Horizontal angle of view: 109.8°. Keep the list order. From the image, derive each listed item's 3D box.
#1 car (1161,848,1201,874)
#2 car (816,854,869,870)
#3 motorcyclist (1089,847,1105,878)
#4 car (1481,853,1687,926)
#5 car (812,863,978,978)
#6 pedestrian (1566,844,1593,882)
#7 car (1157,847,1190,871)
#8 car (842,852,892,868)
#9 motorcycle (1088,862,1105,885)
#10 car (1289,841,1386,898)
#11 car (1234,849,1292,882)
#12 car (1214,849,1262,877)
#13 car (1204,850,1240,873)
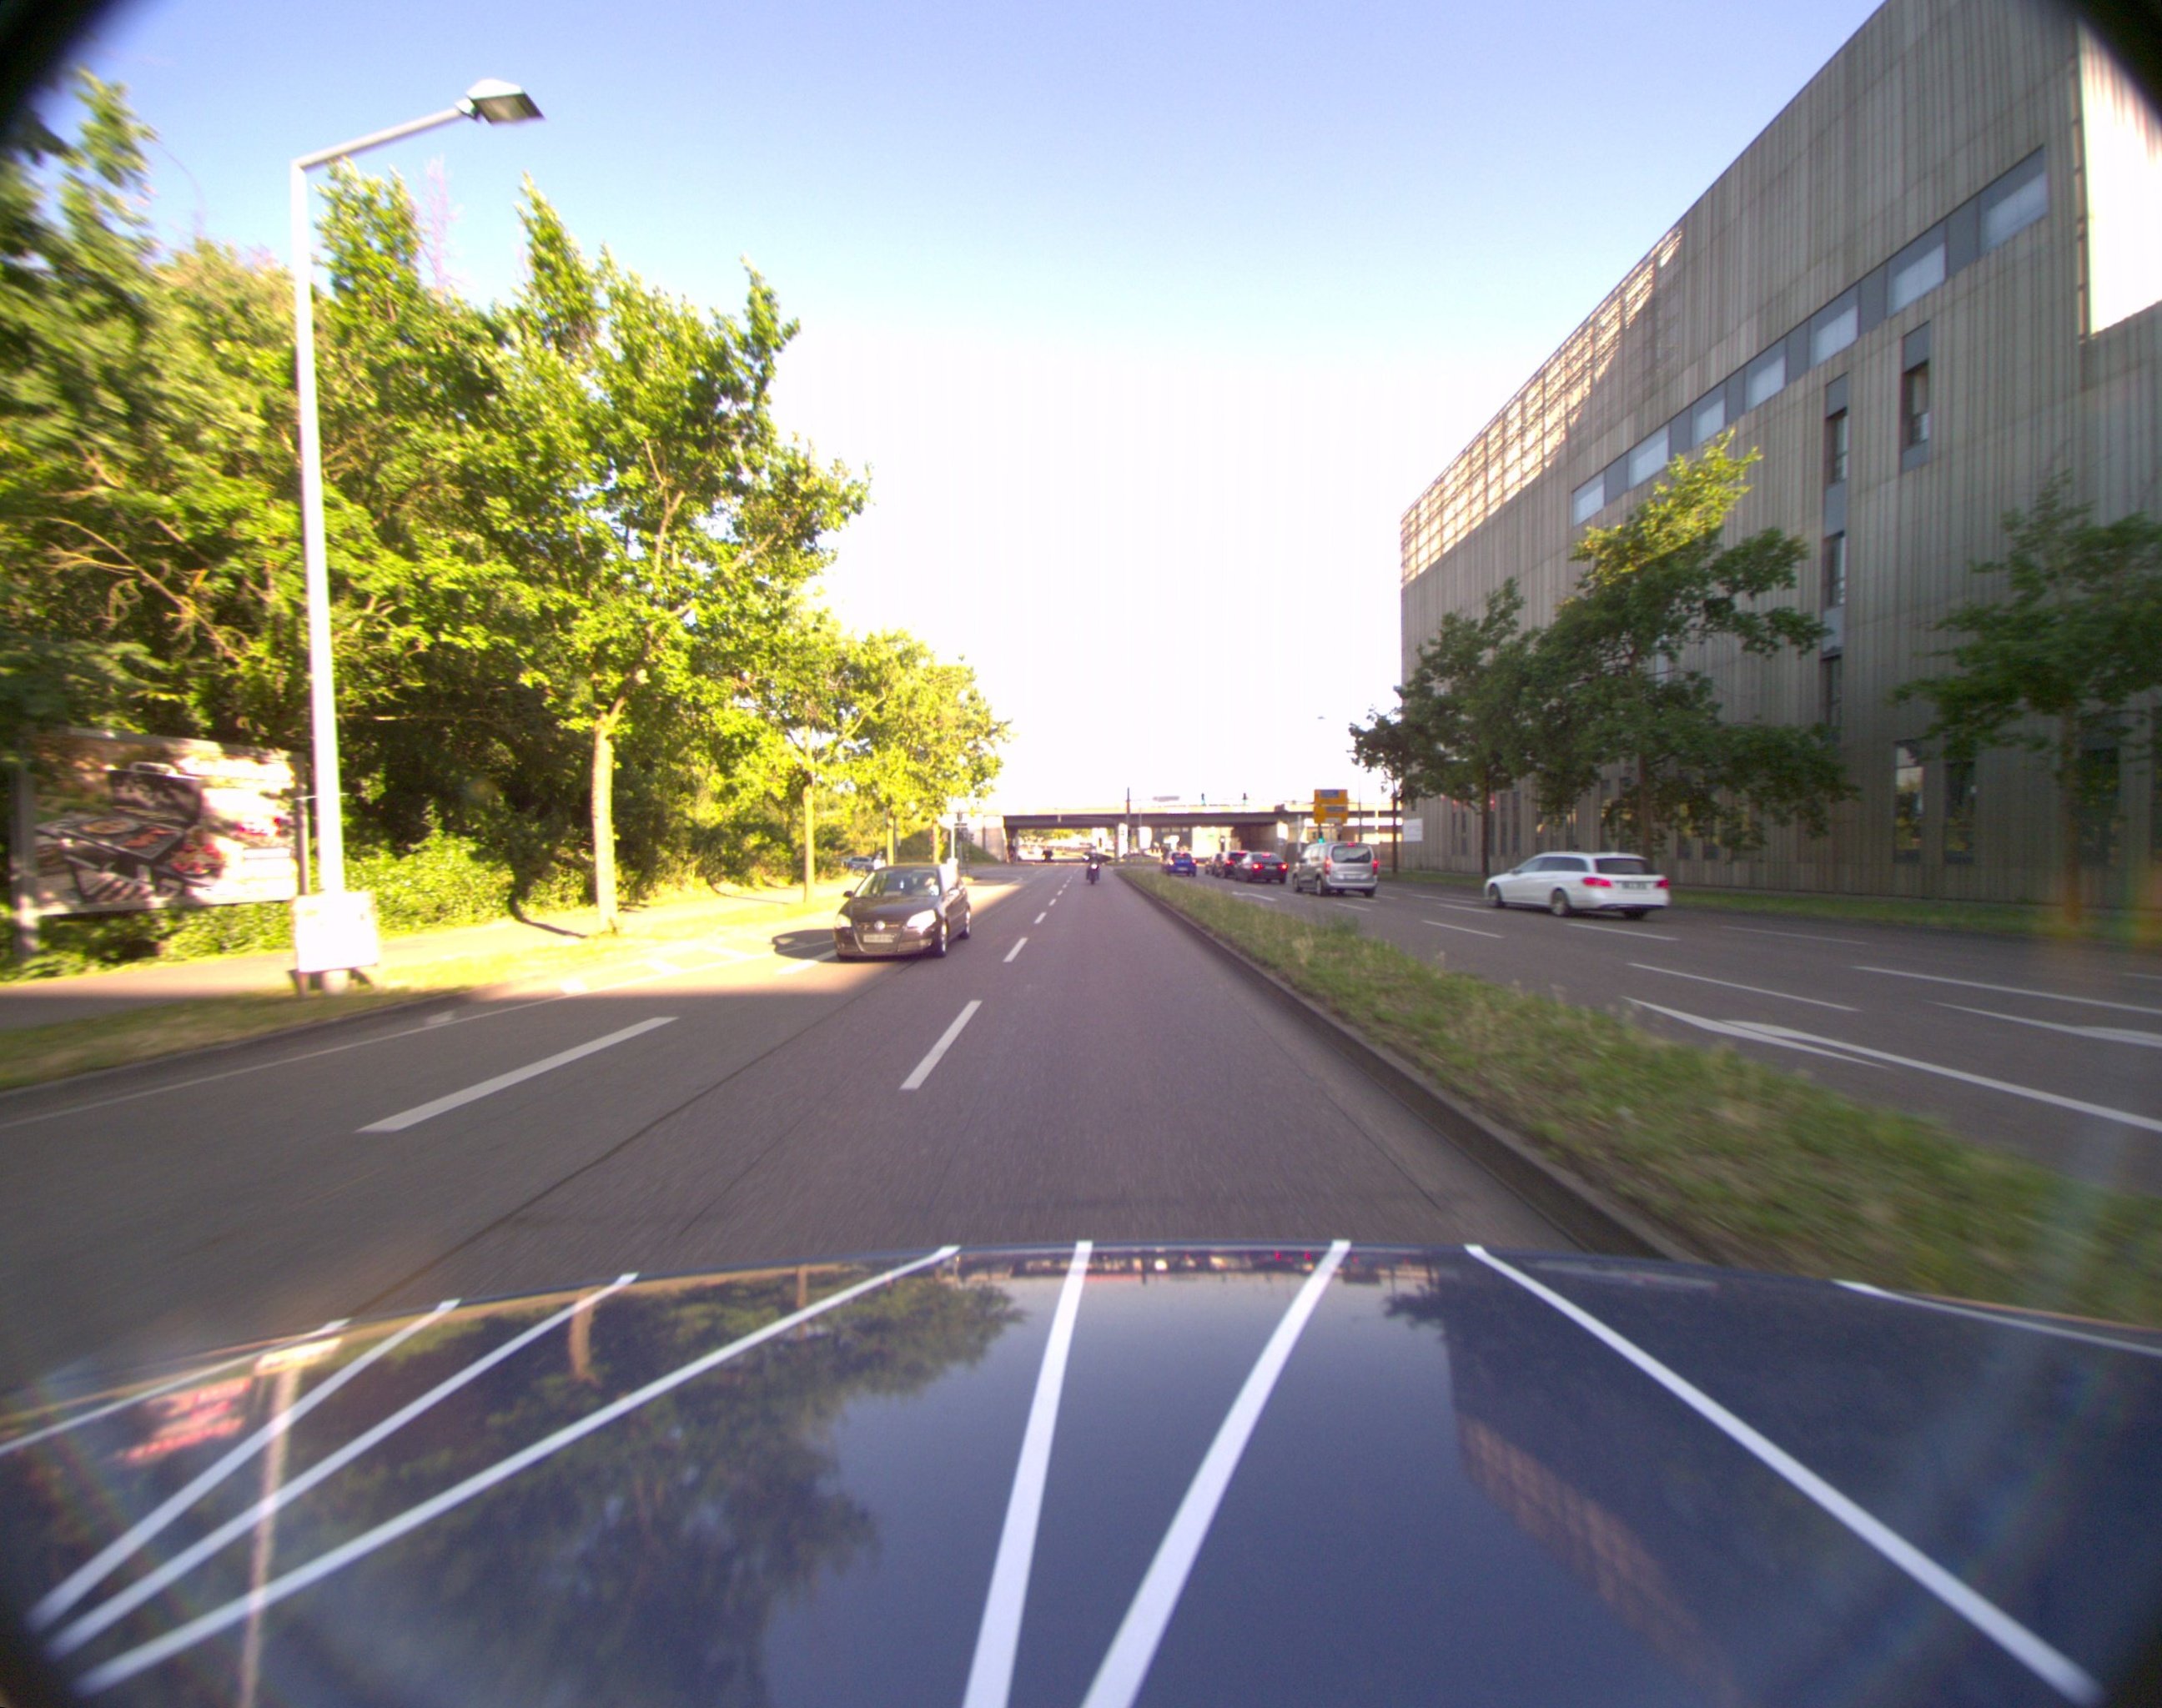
[{"bbox_3d":[5.915,0.384,45.302,1.840,1.510,3.952,0,1,0],"label":"car"},{"bbox_3d":[-22.174,0.727,70.721,4.285,1.510,1.932,0,1,4],"label":"car"},{"bbox_3d":[0.762,0.394,37.031,0.734,1.503,0.919,0,1,-1],"label":"motorcyclist"},{"bbox_3d":[11.849,0.750,18.389,1.850,1.464,4.815,1,1,1],"label":"car"},{"bbox_3d":[-2.922,0.965,12.884,1.726,1.490,4.213,-2,1,0],"label":"car"},{"bbox_3d":[21.630,0.386,32.964,0.698,1.619,0.725,-1,1,1],"label":"pedestrian"},{"bbox_3d":[6.443,0.338,53.225,1.930,1.596,4.000,0,1,2],"label":"car"},{"bbox_3d":[-20.706,0.593,73.683,4.285,1.510,1.932,0,1,4],"label":"car"},{"bbox_3d":[0.752,0.922,36.561,0.749,0.978,2.140,-1,1,0],"label":"motorcycle"},{"bbox_3d":[8.726,0.467,26.228,1.998,1.805,4.401,0,1,2],"label":"car"},{"bbox_3d":[8.752,0.508,36.881,1.930,1.510,4.290,0,1,2],"label":"car"},{"bbox_3d":[8.809,0.459,42.837,1.930,1.510,4.000,0,1,1],"label":"car"},{"bbox_3d":[9.116,0.464,49.424,1.695,1.425,3.772,0,1,1],"label":"car"}]
